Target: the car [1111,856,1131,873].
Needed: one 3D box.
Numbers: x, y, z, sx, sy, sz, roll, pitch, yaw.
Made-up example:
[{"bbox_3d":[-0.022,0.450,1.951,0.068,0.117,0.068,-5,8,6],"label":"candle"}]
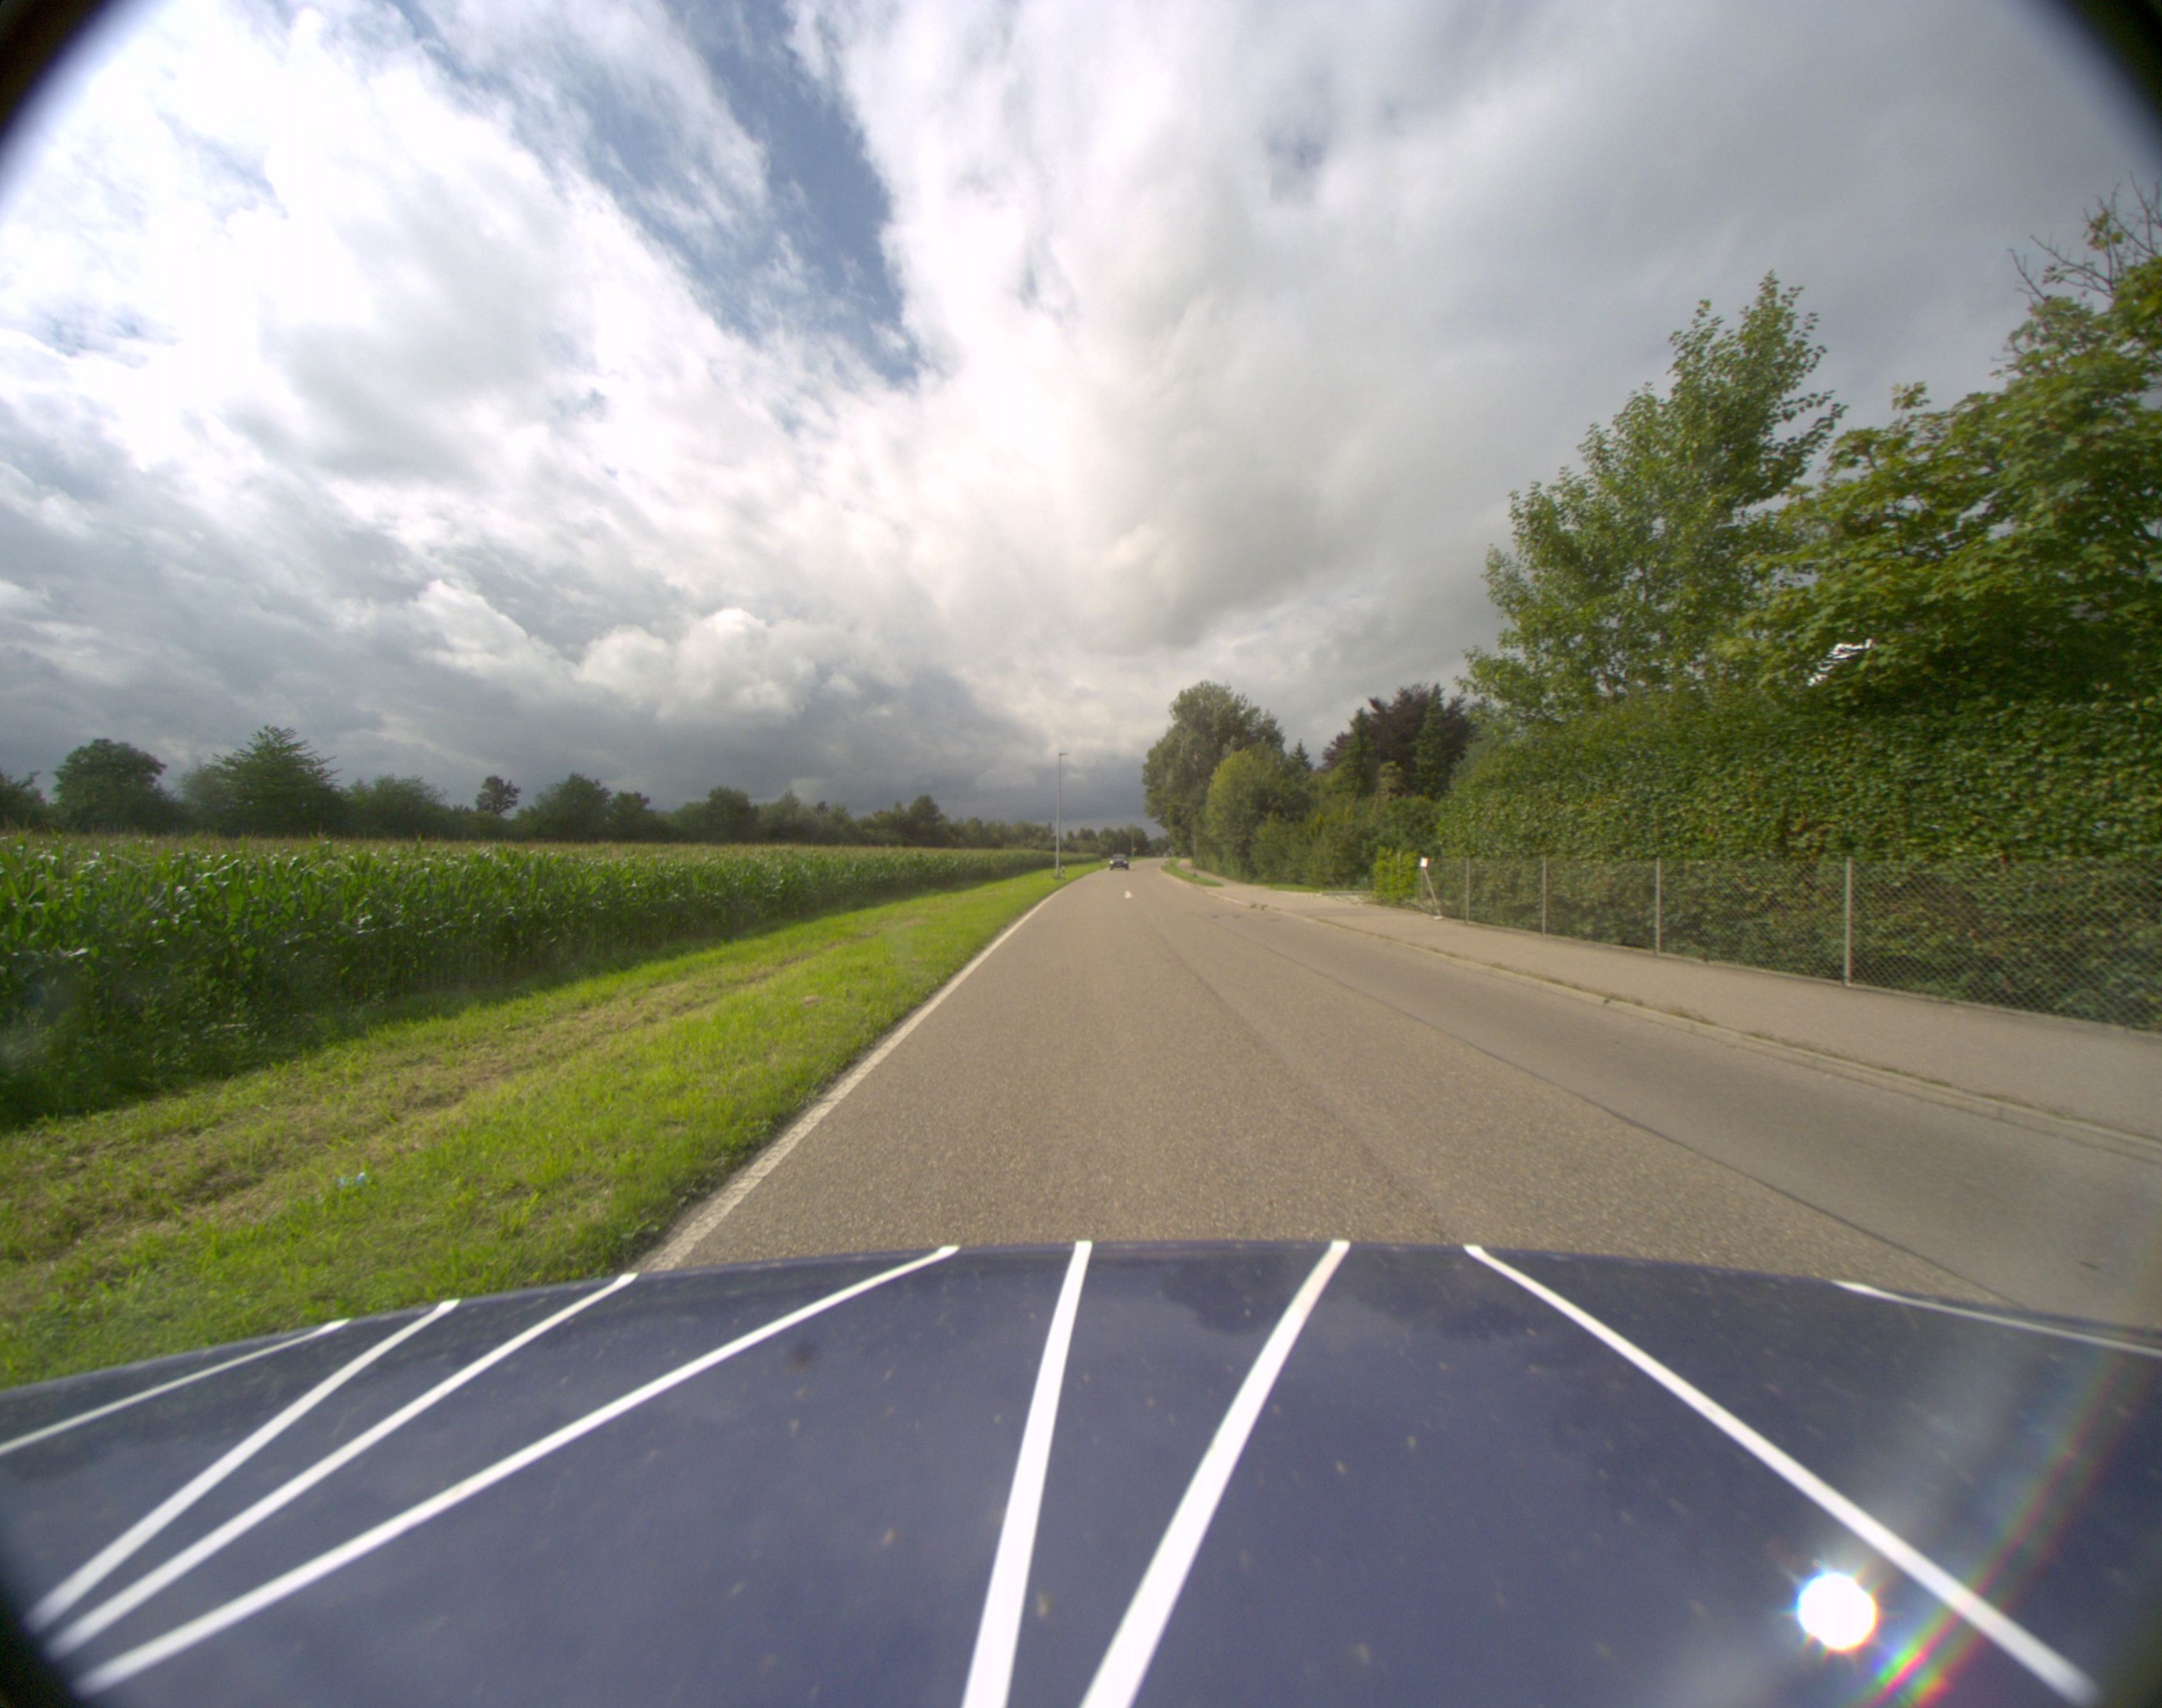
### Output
[{"bbox_3d":[4.189,1.087,79.721,1.998,1.594,4.001,-1,0,4],"label":"car"}]
